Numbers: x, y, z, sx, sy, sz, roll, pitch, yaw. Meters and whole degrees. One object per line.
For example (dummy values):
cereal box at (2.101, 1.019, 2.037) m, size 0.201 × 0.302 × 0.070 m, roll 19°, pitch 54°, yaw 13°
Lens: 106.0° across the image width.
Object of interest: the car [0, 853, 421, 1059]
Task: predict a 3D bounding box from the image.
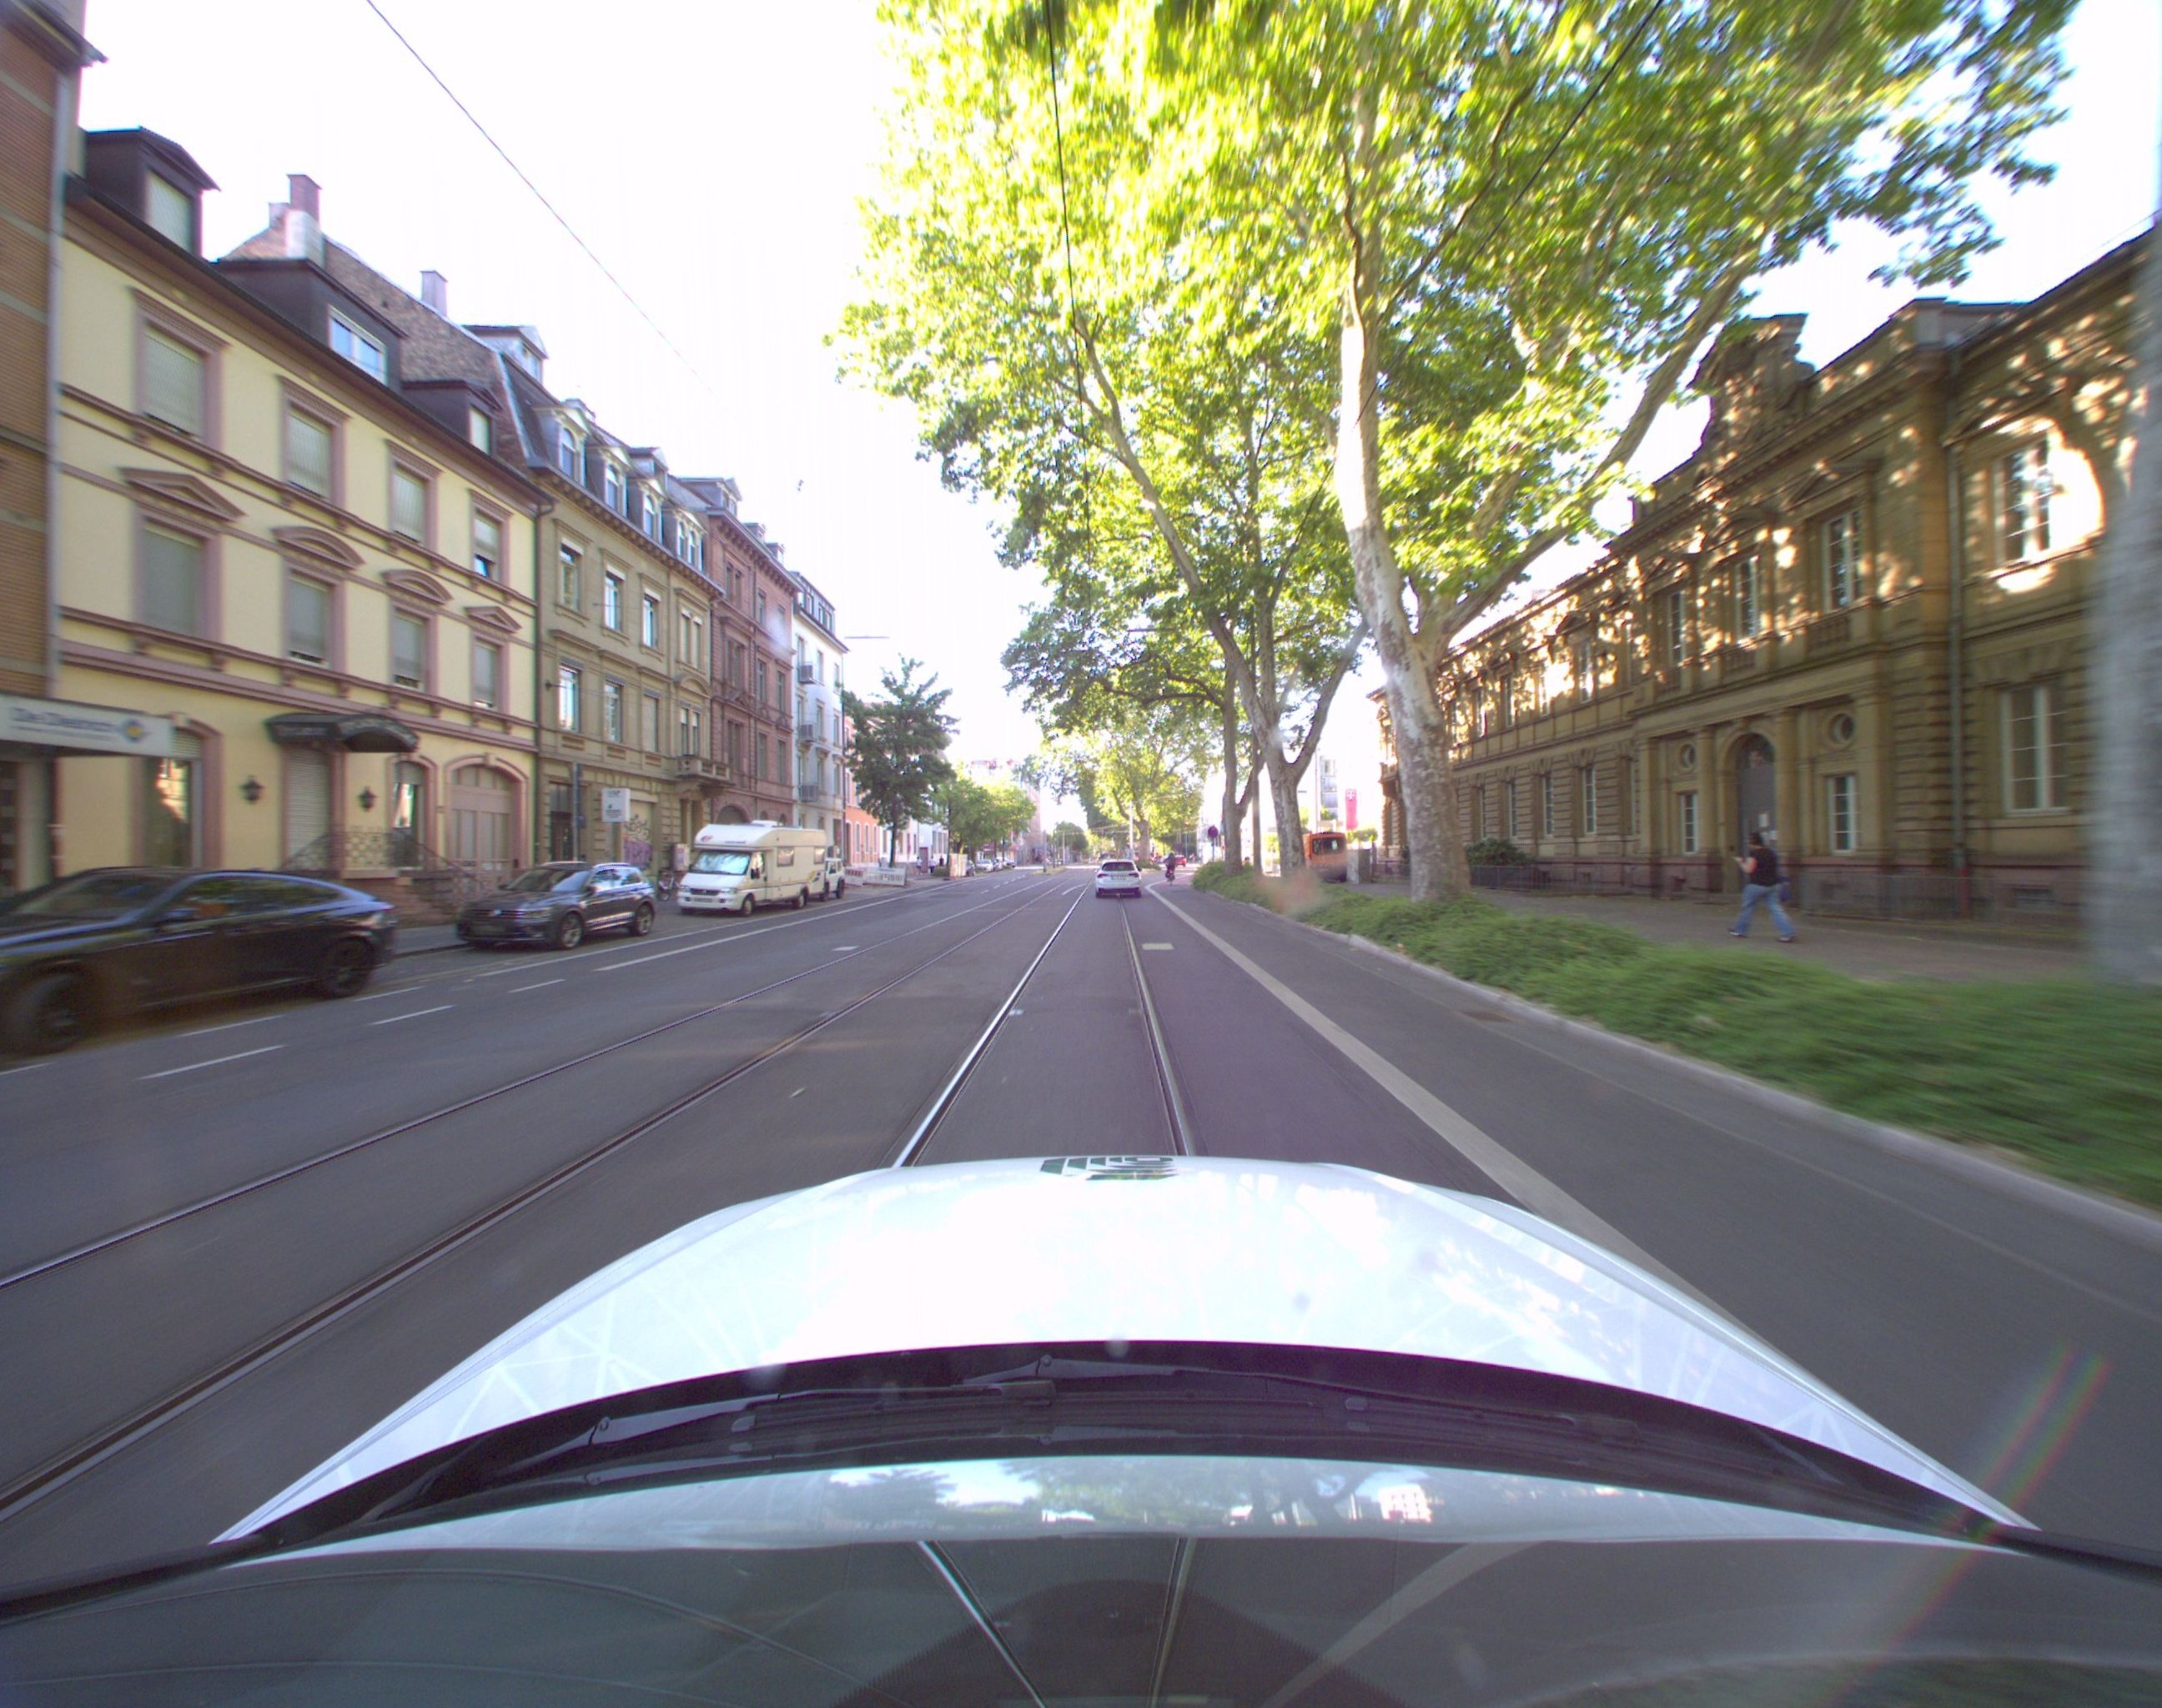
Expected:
car at (-10.604, 0.909, 9.384) m, size 1.958 × 1.781 × 4.935 m, roll 2°, pitch 0°, yaw -1°

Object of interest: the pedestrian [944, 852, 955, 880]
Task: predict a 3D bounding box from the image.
pedestrian at (-9.550, 0.869, 59.325) m, size 0.598 × 2.002 × 0.750 m, roll 0°, pitch -1°, yaw 5°

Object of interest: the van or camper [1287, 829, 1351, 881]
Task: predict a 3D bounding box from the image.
van or camper at (12.103, 0.059, 41.758) m, size 2.019 × 2.464 × 5.112 m, roll 0°, pitch 0°, yaw 3°

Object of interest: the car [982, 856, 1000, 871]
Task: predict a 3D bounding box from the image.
car at (-10.635, 1.120, 96.269) m, size 1.788 × 1.726 × 3.783 m, roll 0°, pitch 0°, yaw -1°

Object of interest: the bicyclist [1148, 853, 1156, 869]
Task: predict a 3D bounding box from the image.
bicyclist at (6.998, 0.702, 80.254) m, size 0.731 × 1.589 × 0.589 m, roll -1°, pitch 0°, yaw 13°

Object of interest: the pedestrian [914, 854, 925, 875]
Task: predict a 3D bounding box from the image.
pedestrian at (-14.880, 0.963, 75.087) m, size 0.740 × 2.002 × 0.652 m, roll 0°, pitch -1°, yaw 39°

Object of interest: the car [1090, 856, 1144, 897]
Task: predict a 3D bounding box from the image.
car at (1.325, 0.836, 31.489) m, size 1.837 × 1.480 × 3.836 m, roll 0°, pitch 0°, yaw -1°

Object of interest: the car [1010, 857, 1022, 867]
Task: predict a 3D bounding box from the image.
car at (-9.865, 1.240, 123.554) m, size 1.630 × 1.477 × 3.782 m, roll 0°, pitch 0°, yaw -1°

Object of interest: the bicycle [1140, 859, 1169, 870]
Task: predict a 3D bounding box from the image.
bicycle at (7.220, 1.043, 80.187) m, size 2.749 × 0.999 × 0.595 m, roll 0°, pitch -1°, yaw 15°

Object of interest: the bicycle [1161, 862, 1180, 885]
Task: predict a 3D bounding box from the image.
bicycle at (4.716, 1.026, 43.040) m, size 0.677 × 1.155 × 2.964 m, roll 0°, pitch 0°, yaw 1°

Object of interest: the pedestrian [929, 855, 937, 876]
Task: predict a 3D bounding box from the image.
pedestrian at (-12.767, 0.992, 70.342) m, size 0.599 × 1.773 × 0.699 m, roll 0°, pitch -1°, yaw -5°

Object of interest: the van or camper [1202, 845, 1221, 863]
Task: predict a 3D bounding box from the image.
van or camper at (17.144, 0.042, 107.064) m, size 1.986 × 2.343 × 4.001 m, roll 0°, pitch 0°, yaw 2°

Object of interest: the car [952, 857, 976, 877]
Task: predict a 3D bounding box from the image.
car at (-10.496, 1.170, 73.539) m, size 1.636 × 1.726 × 3.783 m, roll 0°, pitch 0°, yaw -1°

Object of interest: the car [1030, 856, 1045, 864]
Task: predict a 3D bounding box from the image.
car at (-11.247, 1.574, 211.210) m, size 3.773 × 1.818 × 1.807 m, roll 0°, pitch -1°, yaw 6°

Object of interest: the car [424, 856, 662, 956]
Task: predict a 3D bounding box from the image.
car at (-10.826, 0.944, 16.879) m, size 1.958 × 1.781 × 4.469 m, roll 0°, pitch 0°, yaw -1°

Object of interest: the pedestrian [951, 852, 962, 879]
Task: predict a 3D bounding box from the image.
pedestrian at (-9.400, 0.865, 61.553) m, size 0.643 × 2.002 × 0.750 m, roll 0°, pitch -1°, yaw 5°

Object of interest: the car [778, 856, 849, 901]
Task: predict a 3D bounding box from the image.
car at (-10.745, 0.950, 32.996) m, size 1.636 × 1.726 × 3.783 m, roll 0°, pitch 0°, yaw -1°

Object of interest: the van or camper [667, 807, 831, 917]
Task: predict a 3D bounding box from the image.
van or camper at (-10.626, 0.243, 26.924) m, size 2.208 × 3.140 × 7.118 m, roll 0°, pitch 0°, yaw 3°

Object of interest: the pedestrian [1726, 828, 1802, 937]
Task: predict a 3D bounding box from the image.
pedestrian at (10.593, 0.427, 12.660) m, size 0.642 × 1.633 × 0.876 m, roll 0°, pitch -1°, yaw 20°

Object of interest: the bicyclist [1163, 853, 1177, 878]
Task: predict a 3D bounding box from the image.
bicyclist at (4.714, 0.615, 43.244) m, size 0.676 × 1.339 × 0.525 m, roll 0°, pitch -1°, yaw 0°

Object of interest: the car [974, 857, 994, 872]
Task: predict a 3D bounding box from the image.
car at (-10.698, 1.146, 90.319) m, size 1.788 × 1.726 × 3.783 m, roll 0°, pitch 0°, yaw -1°
